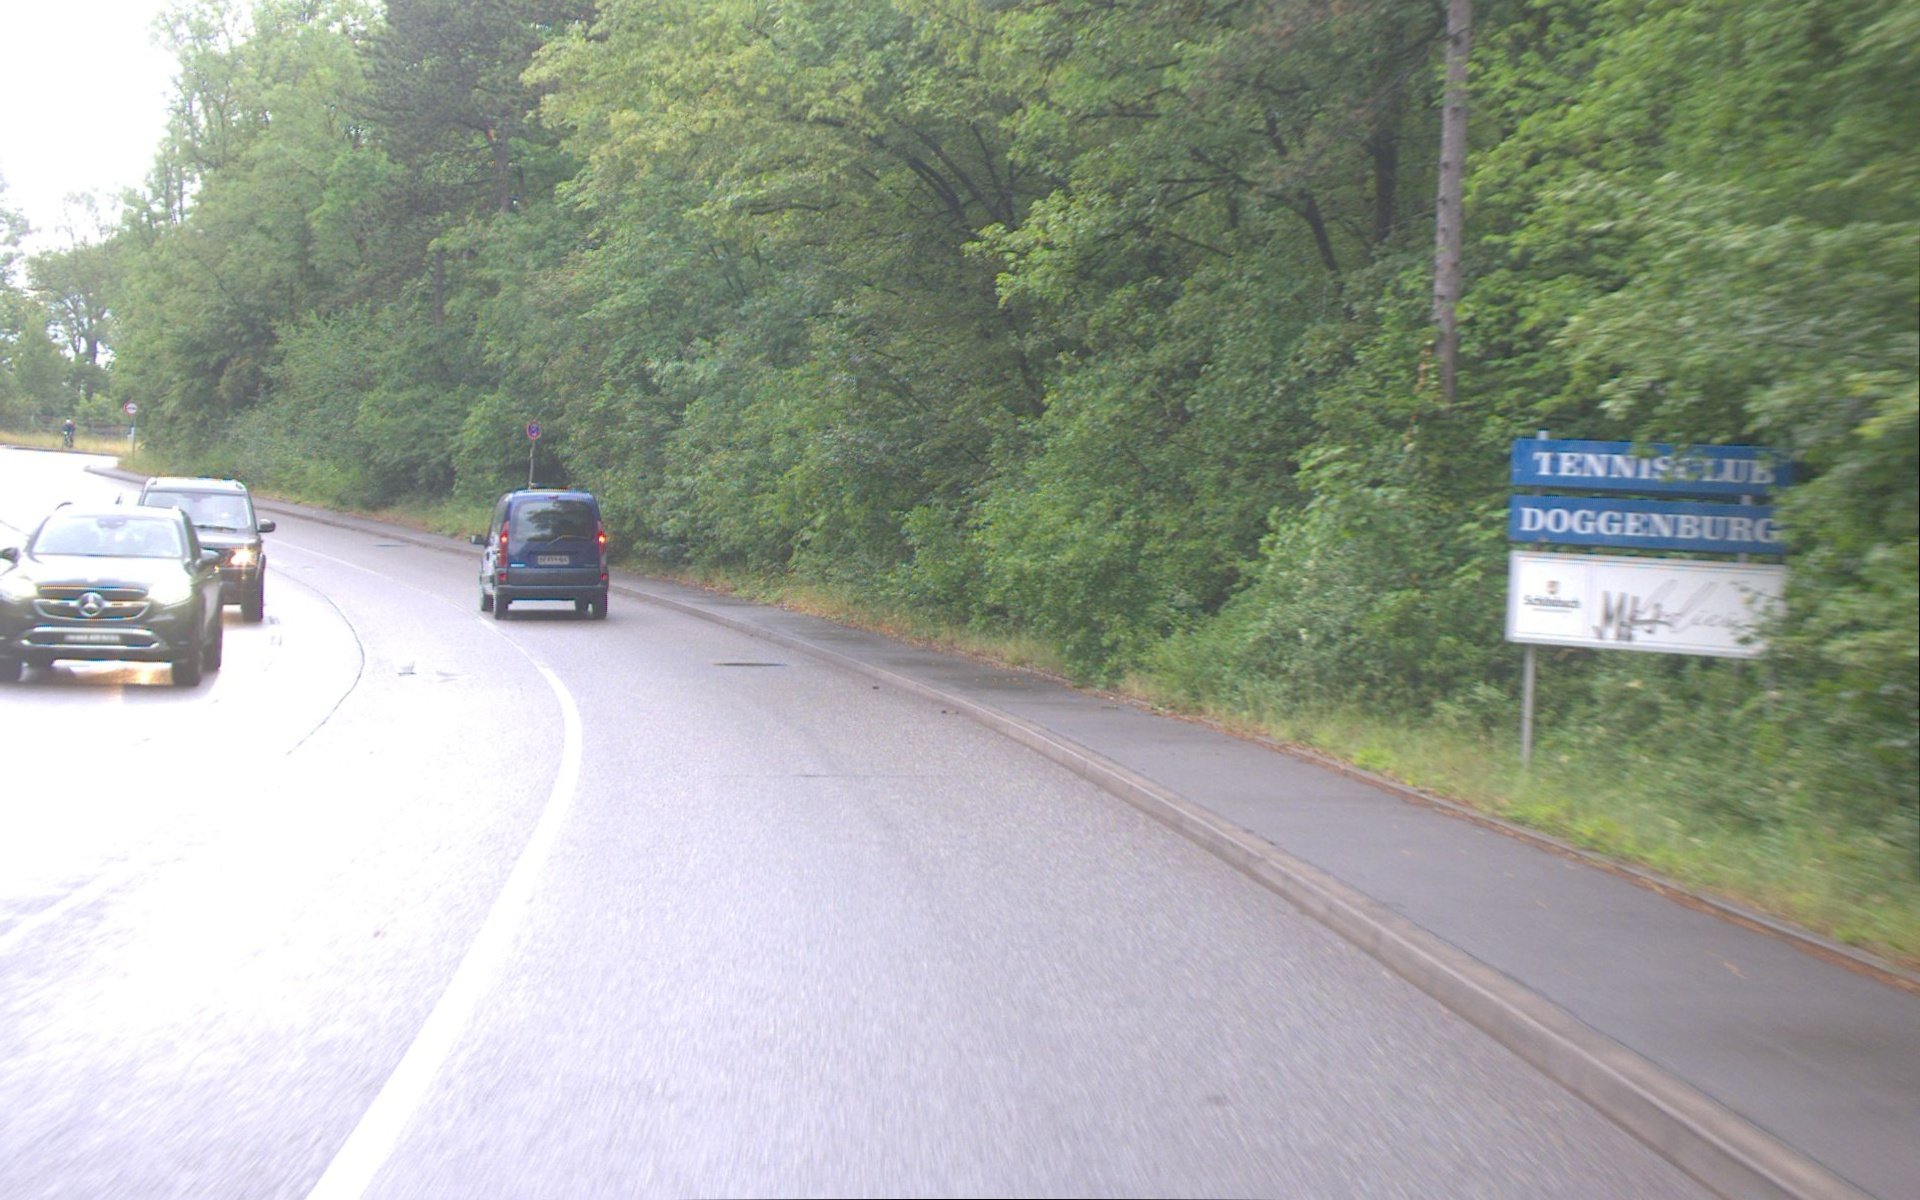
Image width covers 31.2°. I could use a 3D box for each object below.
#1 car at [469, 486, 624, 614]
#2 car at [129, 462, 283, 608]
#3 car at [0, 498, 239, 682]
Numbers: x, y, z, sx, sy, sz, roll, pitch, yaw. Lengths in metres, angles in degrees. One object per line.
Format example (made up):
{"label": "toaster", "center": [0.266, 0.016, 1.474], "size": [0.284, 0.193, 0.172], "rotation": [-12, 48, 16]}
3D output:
{"label": "car", "center": [-6.078, -0.747, 50.229], "size": [1.826, 1.787, 4.001], "rotation": [0, 1, -13]}
{"label": "car", "center": [-10.645, -0.961, 48.328], "size": [1.826, 1.836, 4.713], "rotation": [-2, 3, -15]}
{"label": "car", "center": [-8.045, -0.139, 32.841], "size": [1.808, 1.589, 4.519], "rotation": [2, 1, -7]}
